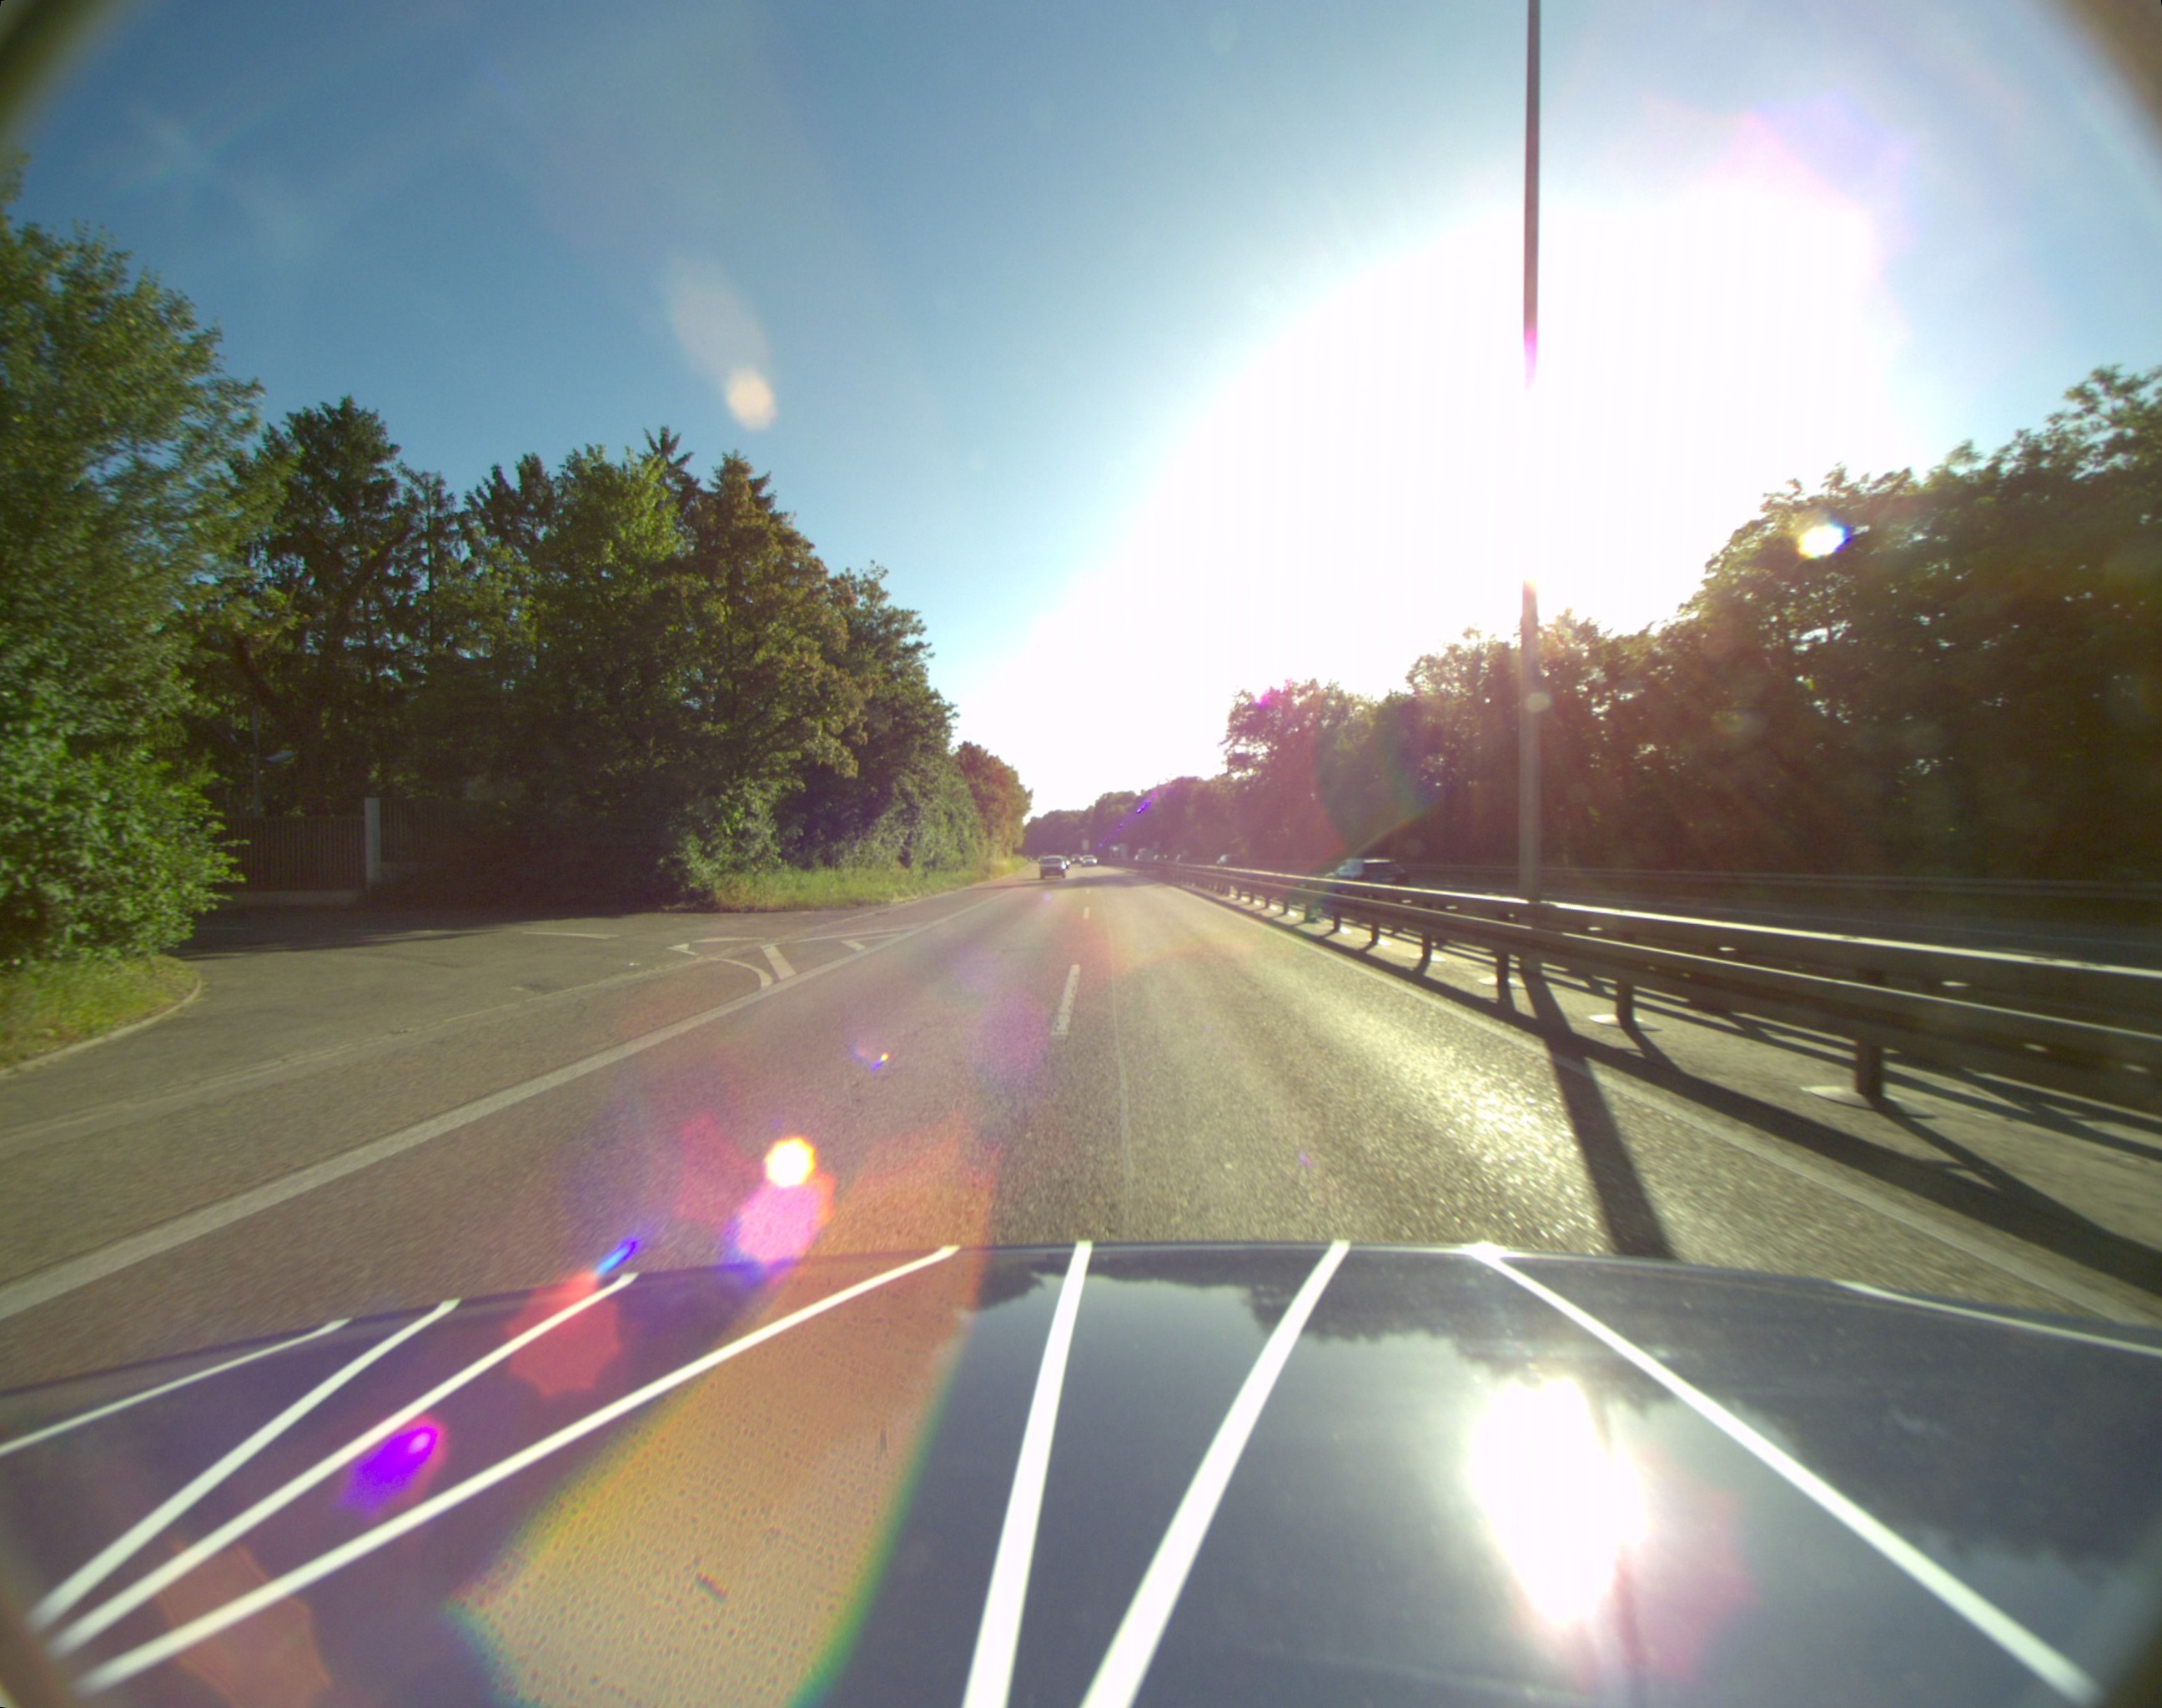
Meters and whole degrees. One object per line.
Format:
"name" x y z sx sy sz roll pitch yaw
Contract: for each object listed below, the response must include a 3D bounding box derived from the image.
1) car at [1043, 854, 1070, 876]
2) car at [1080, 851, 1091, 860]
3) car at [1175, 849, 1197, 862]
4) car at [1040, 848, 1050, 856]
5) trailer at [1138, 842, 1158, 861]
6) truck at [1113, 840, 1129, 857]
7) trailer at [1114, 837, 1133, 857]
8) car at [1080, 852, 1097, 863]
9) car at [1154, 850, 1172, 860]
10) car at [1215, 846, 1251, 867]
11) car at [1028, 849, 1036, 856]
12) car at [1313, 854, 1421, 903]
"car" -1.727 0.751 53.939 1.801 1.453 4.355 -1 0 -1
"car" 0.855 0.286 132.235 1.801 1.453 4.356 -1 0 1
"car" 13.575 0.165 98.494 2.077 1.605 5.057 -2 0 -1
"car" -8.667 -0.432 182.967 2.000 1.761 3.997 -1 0 -7
"trailer" 8.977 -0.332 102.254 1.999 2.423 4.605 -1 0 -3
"truck" 8.777 -1.266 168.075 2.989 3.609 6.154 -1 0 -1
"trailer" 8.945 -1.412 161.359 3.061 3.974 10.970 -1 0 -1
"car" 0.921 0.459 99.602 1.905 1.453 4.354 -1 0 -3
"car" 12.540 0.202 116.380 2.077 1.458 4.984 -1 0 -1
"car" 13.781 0.213 69.355 2.125 1.715 5.876 -2 0 1
"car" -14.732 -0.383 227.477 2.000 2.002 3.997 -1 0 -7
"car" 9.842 0.776 26.605 1.965 1.458 4.876 -2 0 1
